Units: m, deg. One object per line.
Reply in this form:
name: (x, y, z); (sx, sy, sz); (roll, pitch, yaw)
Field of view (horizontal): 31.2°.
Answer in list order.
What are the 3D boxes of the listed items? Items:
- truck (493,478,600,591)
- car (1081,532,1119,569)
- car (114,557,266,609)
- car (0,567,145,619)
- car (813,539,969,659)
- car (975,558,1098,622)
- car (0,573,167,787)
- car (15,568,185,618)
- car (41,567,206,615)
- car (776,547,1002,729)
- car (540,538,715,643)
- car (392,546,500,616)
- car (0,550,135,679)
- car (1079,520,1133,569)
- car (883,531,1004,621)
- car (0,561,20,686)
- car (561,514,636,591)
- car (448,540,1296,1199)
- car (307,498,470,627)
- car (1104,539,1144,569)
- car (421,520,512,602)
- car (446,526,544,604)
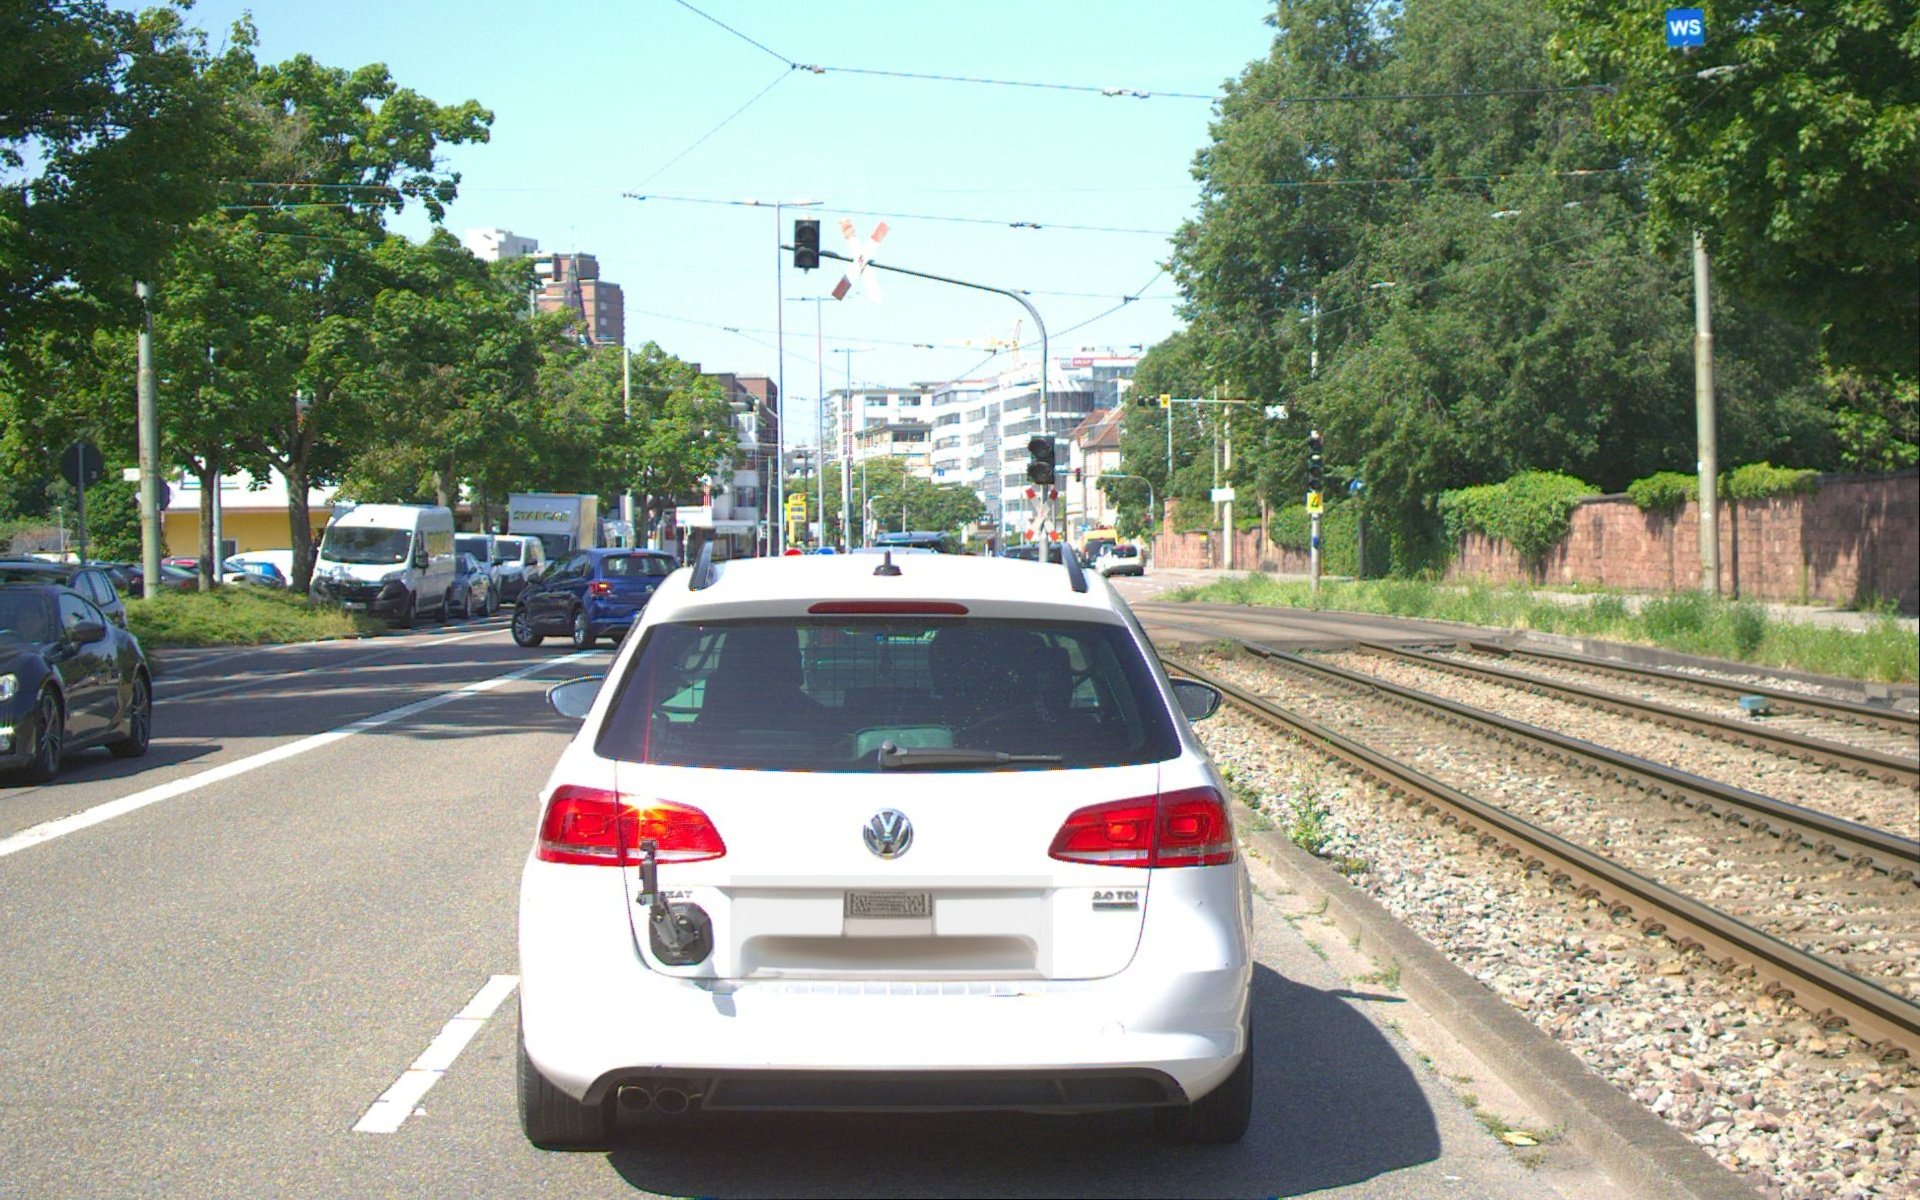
truck: (-11.947, -1.887, 99.758); (2.356, 3.112, 6.892); (-1, 1, -1)
car: (7.053, -2.495, 173.819); (1.691, 1.806, 3.454); (1, 0, -1)
car: (-22.500, -0.503, 100.531); (3.987, 1.439, 1.771); (-1, 1, 2)
car: (-22.582, -0.169, 85.820); (3.987, 1.221, 1.771); (-1, 1, 2)
car: (-0.876, -0.052, 44.074); (1.861, 1.412, 4.325); (1, 1, -1)
car: (1.796, -0.249, 79.309); (1.747, 1.403, 3.909); (2, 1, 18)
car: (-6.507, 0.478, 22.578); (1.687, 1.240, 4.065); (-1, 1, -1)
car: (-22.676, -0.191, 90.729); (3.987, 1.221, 1.771); (-1, 1, 2)
car: (-22.579, -0.253, 92.848); (3.987, 1.221, 1.771); (-1, 1, 2)
car: (-0.588, 0.269, 28.934); (1.746, 1.383, 3.913); (1, 1, -1)
car: (-4.847, -0.156, 49.635); (1.745, 1.403, 3.914); (1, 1, -17)
car: (-11.602, -0.460, 77.804); (1.843, 1.511, 4.197); (-1, 1, -1)
car: (-11.288, 0.138, 41.509); (1.641, 1.445, 4.004); (1, 1, 0)
car: (7.696, -2.914, 182.314); (2.463, 2.490, 5.910); (1, 0, -1)
car: (-0.255, -0.442, 60.720); (1.861, 1.508, 3.913); (1, 1, 3)
car: (-11.494, 0.303, 36.660); (1.690, 1.375, 4.783); (-1, 1, -1)
car: (-12.044, -1.601, 114.704); (1.843, 2.486, 5.857); (-1, 1, 0)
car: (-0.234, 0.582, 9.249); (1.768, 1.441, 3.913); (1, 1, -1)
car: (-11.829, -0.808, 71.565); (2.059, 2.492, 6.307); (2, 1, 2)
car: (7.604, -2.119, 159.588); (1.581, 1.341, 3.454); (1, 0, -1)
car: (-12.165, -0.986, 85.003); (1.843, 1.930, 5.195); (-1, 1, -4)
car: (-12.244, -0.944, 90.809); (1.843, 1.954, 5.134); (-1, 1, 0)
